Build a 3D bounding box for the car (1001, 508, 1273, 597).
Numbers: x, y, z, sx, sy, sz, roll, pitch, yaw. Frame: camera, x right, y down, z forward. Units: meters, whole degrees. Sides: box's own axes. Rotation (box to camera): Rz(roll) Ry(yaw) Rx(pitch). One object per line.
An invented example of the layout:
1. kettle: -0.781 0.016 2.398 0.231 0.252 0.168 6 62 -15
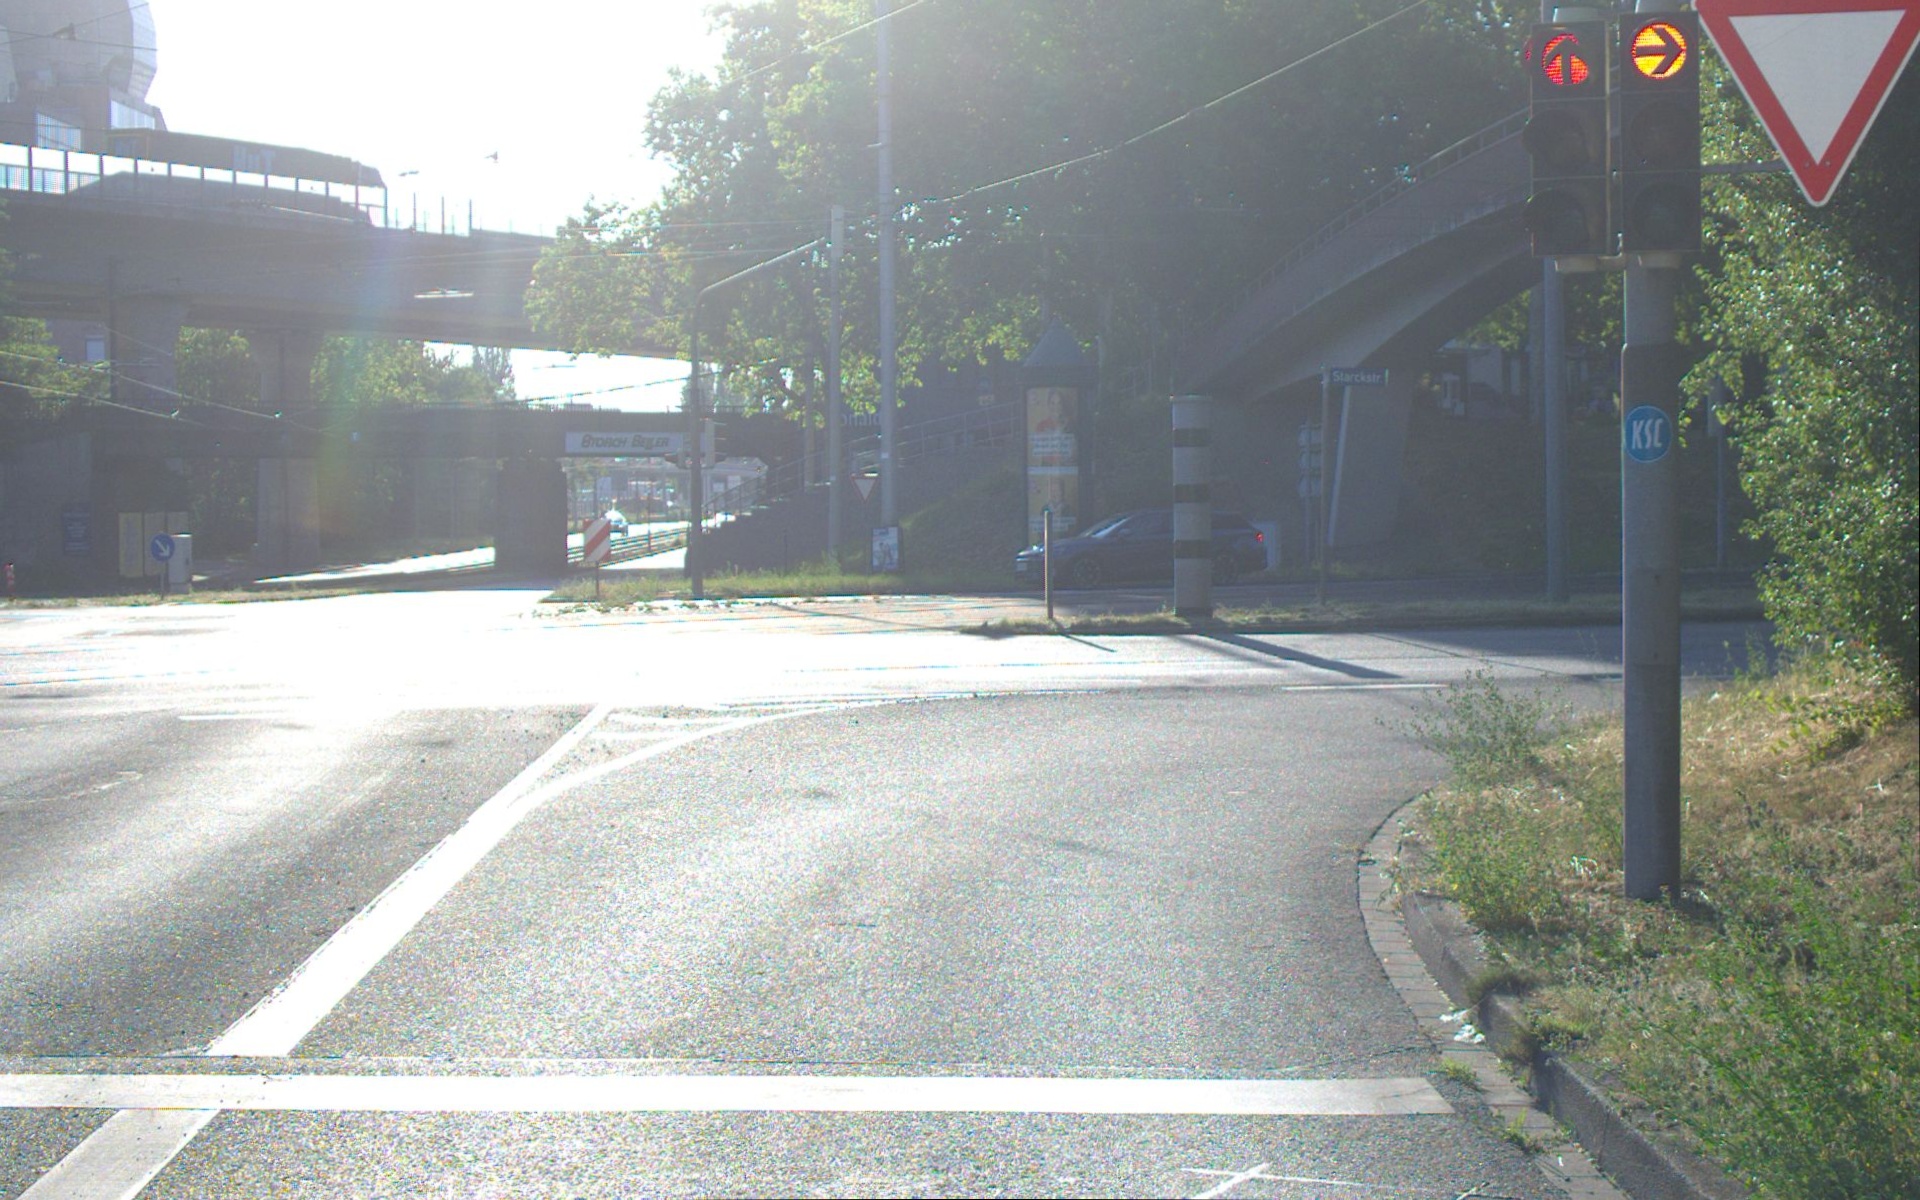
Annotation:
1. car: 3.186 -0.858 61.905 4.574 1.569 1.694 0 1 -18
